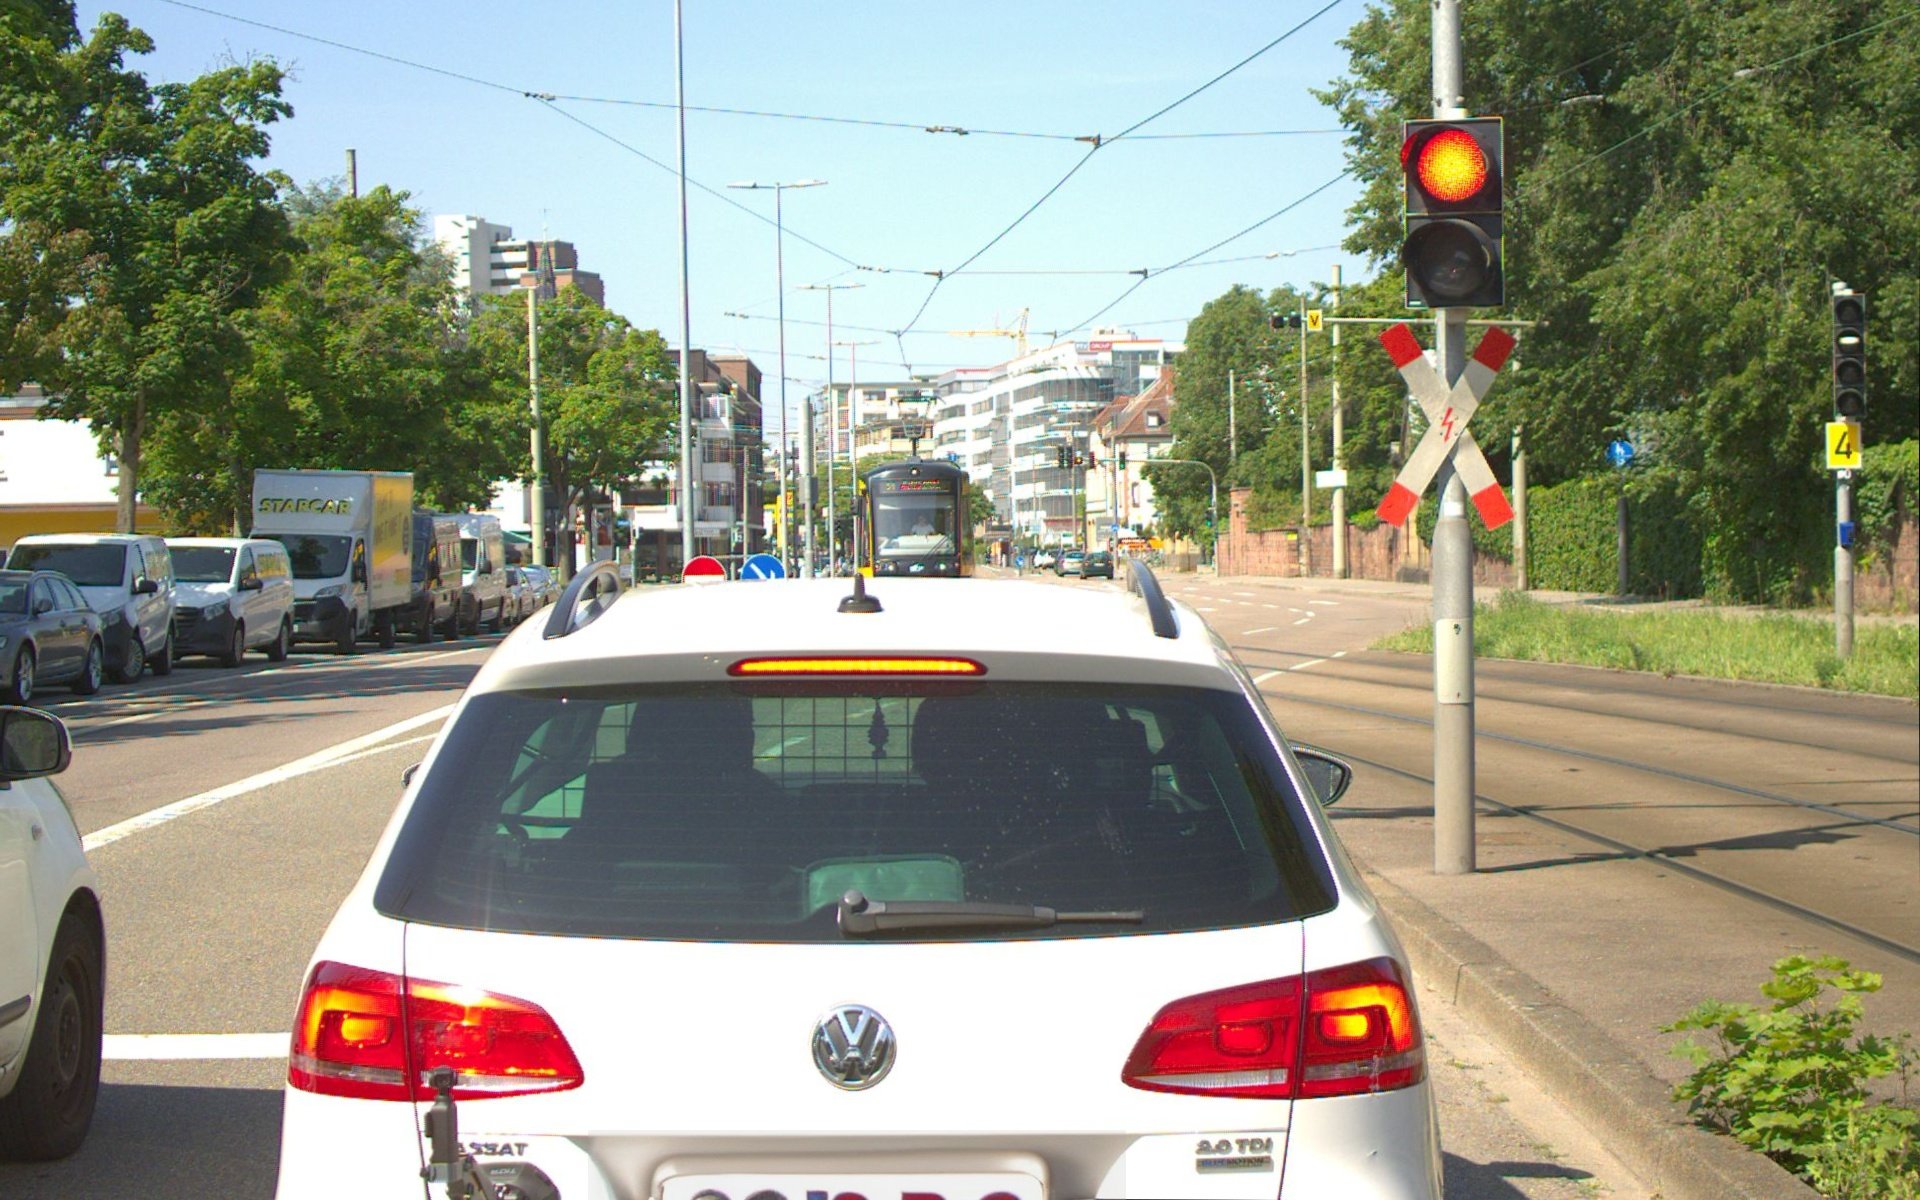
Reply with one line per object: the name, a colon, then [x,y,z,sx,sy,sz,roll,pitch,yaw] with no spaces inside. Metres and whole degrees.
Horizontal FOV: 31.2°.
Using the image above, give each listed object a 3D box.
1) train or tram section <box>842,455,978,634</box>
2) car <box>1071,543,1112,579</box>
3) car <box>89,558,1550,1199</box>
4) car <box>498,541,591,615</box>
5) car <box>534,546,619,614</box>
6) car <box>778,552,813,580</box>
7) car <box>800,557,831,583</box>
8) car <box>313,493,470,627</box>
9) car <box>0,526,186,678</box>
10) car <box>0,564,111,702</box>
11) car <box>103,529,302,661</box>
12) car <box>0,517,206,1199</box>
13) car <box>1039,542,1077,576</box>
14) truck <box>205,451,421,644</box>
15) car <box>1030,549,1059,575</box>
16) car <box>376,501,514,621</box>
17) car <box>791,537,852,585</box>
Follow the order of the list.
train or tram section: [-1.049,-1.332,81.011,2.870,3.842,12.392,-1,1,0]
car: [7.069,-2.117,185.033,1.863,1.861,5.062,1,1,-1]
car: [-0.183,0.673,6.198,1.762,1.425,4.000,-1,1,-1]
car: [-11.040,-0.609,91.682,1.863,1.861,5.414,1,1,-1]
car: [-10.964,-0.602,98.600,1.863,1.861,5.414,1,1,-1]
car: [-8.866,-1.842,185.677,1.705,1.468,4.589,-1,1,-1]
car: [-8.855,-1.856,211.161,1.705,1.468,4.589,-1,1,0]
car: [-11.239,-0.807,68.316,2.123,2.508,5.733,1,1,0]
car: [-11.465,-0.028,45.273,1.863,1.861,5.075,1,1,-6]
car: [-11.003,0.328,38.740,1.863,1.411,4.280,1,1,-1]
car: [-11.354,-0.123,51.901,1.863,1.861,5.414,1,1,-1]
car: [-2.960,0.594,7.364,1.662,1.542,4.547,0,1,0]
car: [5.672,-2.390,199.627,1.863,1.861,5.062,1,1,-1]
truck: [-11.245,-0.930,60.313,2.421,3.139,6.997,1,1,0]
car: [6.246,-2.826,255.258,1.863,1.861,5.062,1,1,-1]
car: [-11.289,-0.880,75.753,2.123,2.508,5.733,1,1,0]
car: [-4.531,-1.297,112.853,1.705,1.468,4.589,-2,1,1]
